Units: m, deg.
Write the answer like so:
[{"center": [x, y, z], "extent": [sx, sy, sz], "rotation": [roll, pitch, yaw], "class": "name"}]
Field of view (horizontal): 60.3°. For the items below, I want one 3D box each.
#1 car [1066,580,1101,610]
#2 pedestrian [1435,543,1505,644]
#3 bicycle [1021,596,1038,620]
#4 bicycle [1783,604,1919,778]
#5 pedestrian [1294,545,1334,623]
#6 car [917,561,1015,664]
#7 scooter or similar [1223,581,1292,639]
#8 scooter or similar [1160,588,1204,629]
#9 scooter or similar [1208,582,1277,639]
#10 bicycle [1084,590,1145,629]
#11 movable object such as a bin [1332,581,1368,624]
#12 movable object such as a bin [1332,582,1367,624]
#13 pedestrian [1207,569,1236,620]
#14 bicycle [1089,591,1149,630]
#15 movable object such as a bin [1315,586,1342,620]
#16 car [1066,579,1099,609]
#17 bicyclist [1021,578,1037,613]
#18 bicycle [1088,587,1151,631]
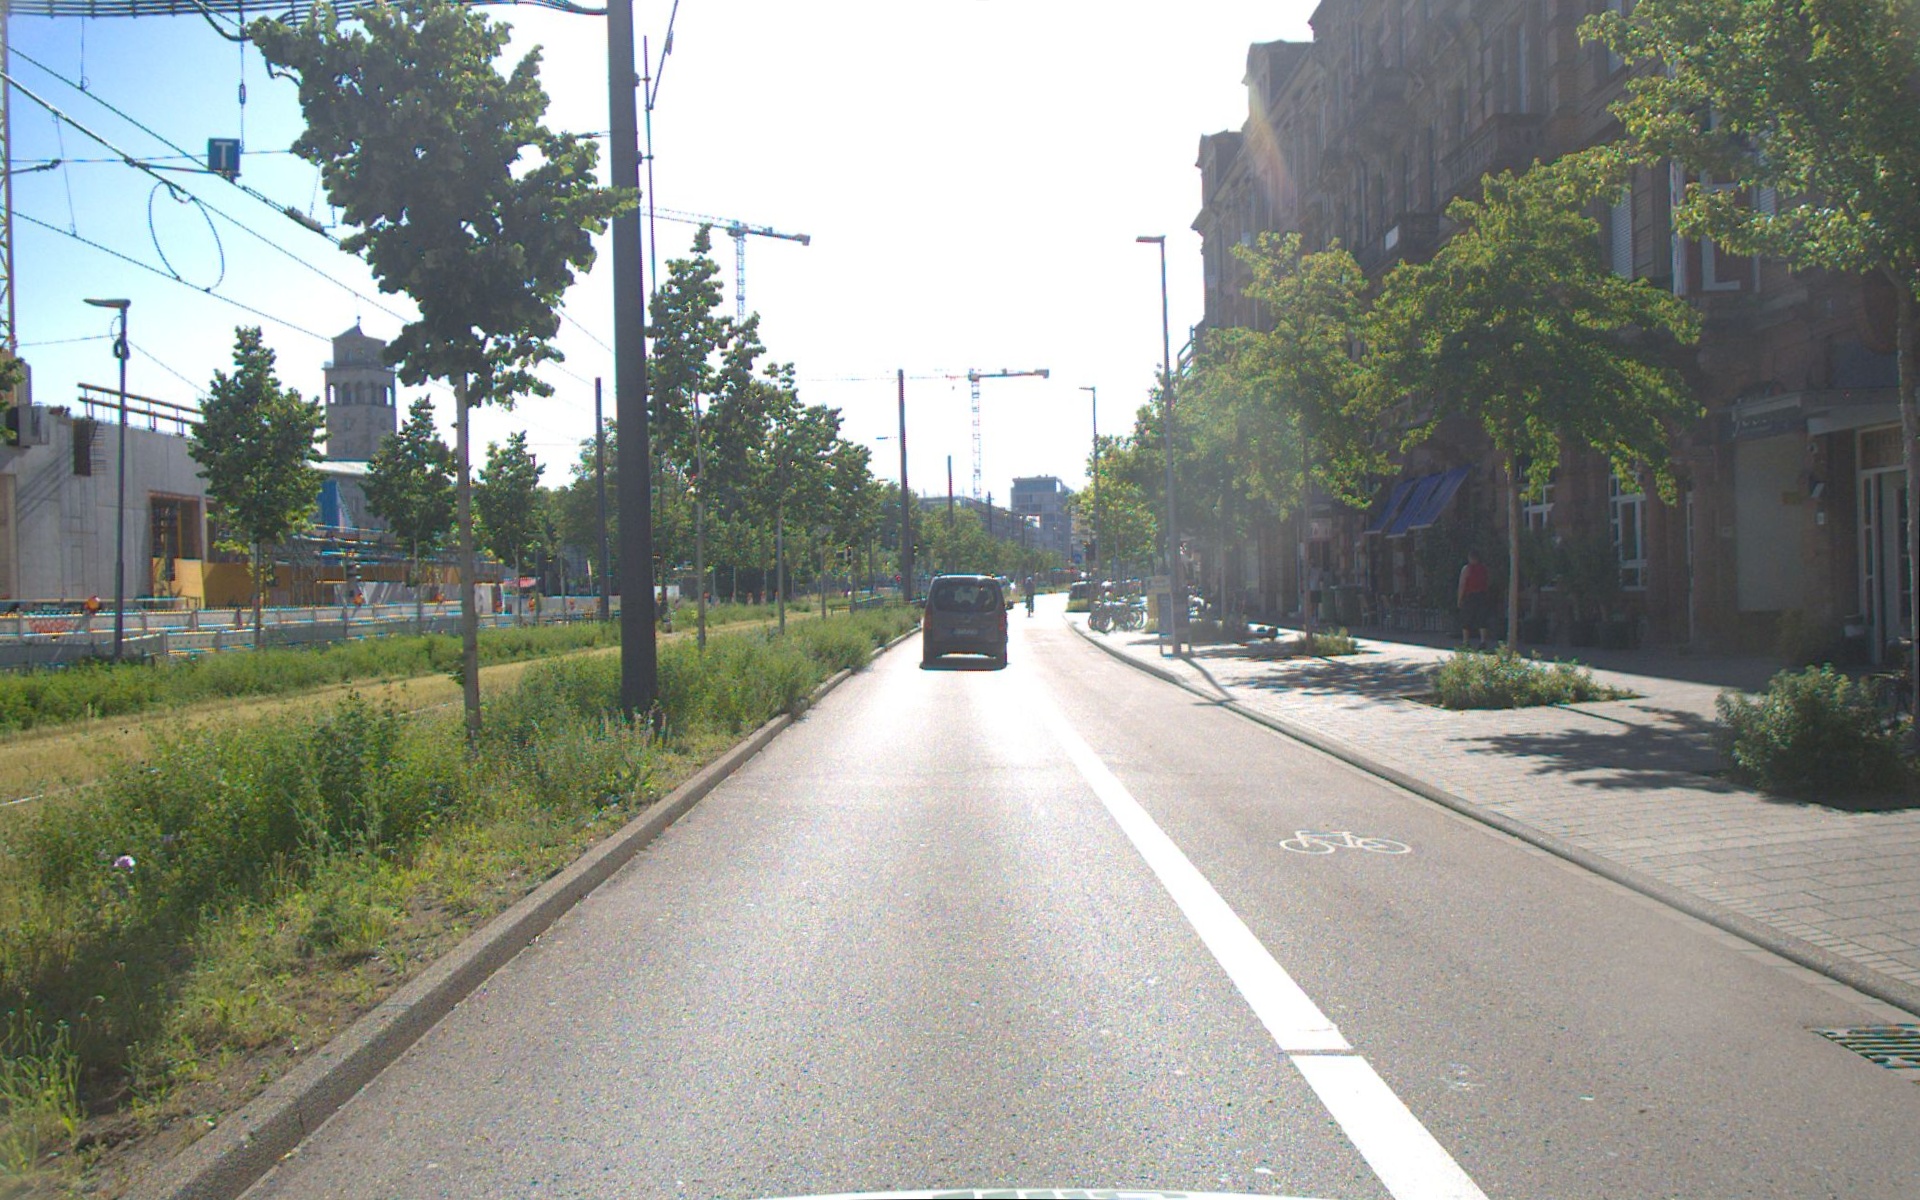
[{"center": [7.066, -0.262, 94.425], "extent": [1.946, 1.666, 4.191], "rotation": [-1, 0, 5], "class": "car"}, {"center": [9.120, -0.114, 29.611], "extent": [0.976, 1.762, 0.866], "rotation": [0, -1, -1], "class": "pedestrian"}, {"center": [3.270, 0.379, 78.094], "extent": [0.687, 1.110, 2.277], "rotation": [-1, 0, -1], "class": "bicycle"}, {"center": [6.691, 0.612, 11.486], "extent": [0.638, 1.139, 2.169], "rotation": [-3, 0, -6], "class": "bicycle"}, {"center": [9.537, -0.425, 44.591], "extent": [0.801, 2.049, 1.046], "rotation": [0, -2, -1], "class": "pedestrian"}, {"center": [0.133, 0.262, 35.148], "extent": [1.952, 2.049, 4.000], "rotation": [0, 0, 0], "class": "car"}, {"center": [6.948, 0.231, 38.654], "extent": [1.445, 1.237, 0.601], "rotation": [-4, 1, -4], "class": "scooter or similar"}, {"center": [6.622, 0.253, 49.394], "extent": [1.194, 1.125, 0.783], "rotation": [-3, 1, 2], "class": "scooter or similar"}, {"center": [6.734, 0.249, 39.414], "extent": [1.447, 1.237, 0.600], "rotation": [-4, 1, -11], "class": "scooter or similar"}, {"center": [5.160, 0.308, 55.280], "extent": [1.879, 1.140, 0.664], "rotation": [-5, 0, -7], "class": "bicycle"}, {"center": [10.381, 0.055, 44.059], "extent": [0.711, 1.117, 0.747], "rotation": [-1, 0, -5], "class": "movable object such as a bin"}, {"center": [10.557, 0.076, 44.829], "extent": [0.711, 1.117, 0.747], "rotation": [-1, 0, -5], "class": "movable object such as a bin"}, {"center": [9.301, -0.184, 58.806], "extent": [0.827, 1.772, 0.886], "rotation": [-2, -1, 0], "class": "pedestrian"}, {"center": [5.157, 0.345, 53.764], "extent": [1.790, 1.097, 0.664], "rotation": [-5, 0, -7], "class": "bicycle"}, {"center": [10.555, 0.083, 47.363], "extent": [0.592, 0.932, 0.650], "rotation": [-1, 0, -5], "class": "movable object such as a bin"}, {"center": [7.462, -0.350, 100.746], "extent": [1.979, 1.752, 4.121], "rotation": [-1, 0, 5], "class": "car"}, {"center": [3.245, -0.224, 78.170], "extent": [0.669, 1.612, 0.839], "rotation": [-1, 0, -1], "class": "bicyclist"}, {"center": [5.038, 0.274, 52.228], "extent": [1.843, 1.255, 0.499], "rotation": [-4, 0, -6], "class": "bicycle"}]
